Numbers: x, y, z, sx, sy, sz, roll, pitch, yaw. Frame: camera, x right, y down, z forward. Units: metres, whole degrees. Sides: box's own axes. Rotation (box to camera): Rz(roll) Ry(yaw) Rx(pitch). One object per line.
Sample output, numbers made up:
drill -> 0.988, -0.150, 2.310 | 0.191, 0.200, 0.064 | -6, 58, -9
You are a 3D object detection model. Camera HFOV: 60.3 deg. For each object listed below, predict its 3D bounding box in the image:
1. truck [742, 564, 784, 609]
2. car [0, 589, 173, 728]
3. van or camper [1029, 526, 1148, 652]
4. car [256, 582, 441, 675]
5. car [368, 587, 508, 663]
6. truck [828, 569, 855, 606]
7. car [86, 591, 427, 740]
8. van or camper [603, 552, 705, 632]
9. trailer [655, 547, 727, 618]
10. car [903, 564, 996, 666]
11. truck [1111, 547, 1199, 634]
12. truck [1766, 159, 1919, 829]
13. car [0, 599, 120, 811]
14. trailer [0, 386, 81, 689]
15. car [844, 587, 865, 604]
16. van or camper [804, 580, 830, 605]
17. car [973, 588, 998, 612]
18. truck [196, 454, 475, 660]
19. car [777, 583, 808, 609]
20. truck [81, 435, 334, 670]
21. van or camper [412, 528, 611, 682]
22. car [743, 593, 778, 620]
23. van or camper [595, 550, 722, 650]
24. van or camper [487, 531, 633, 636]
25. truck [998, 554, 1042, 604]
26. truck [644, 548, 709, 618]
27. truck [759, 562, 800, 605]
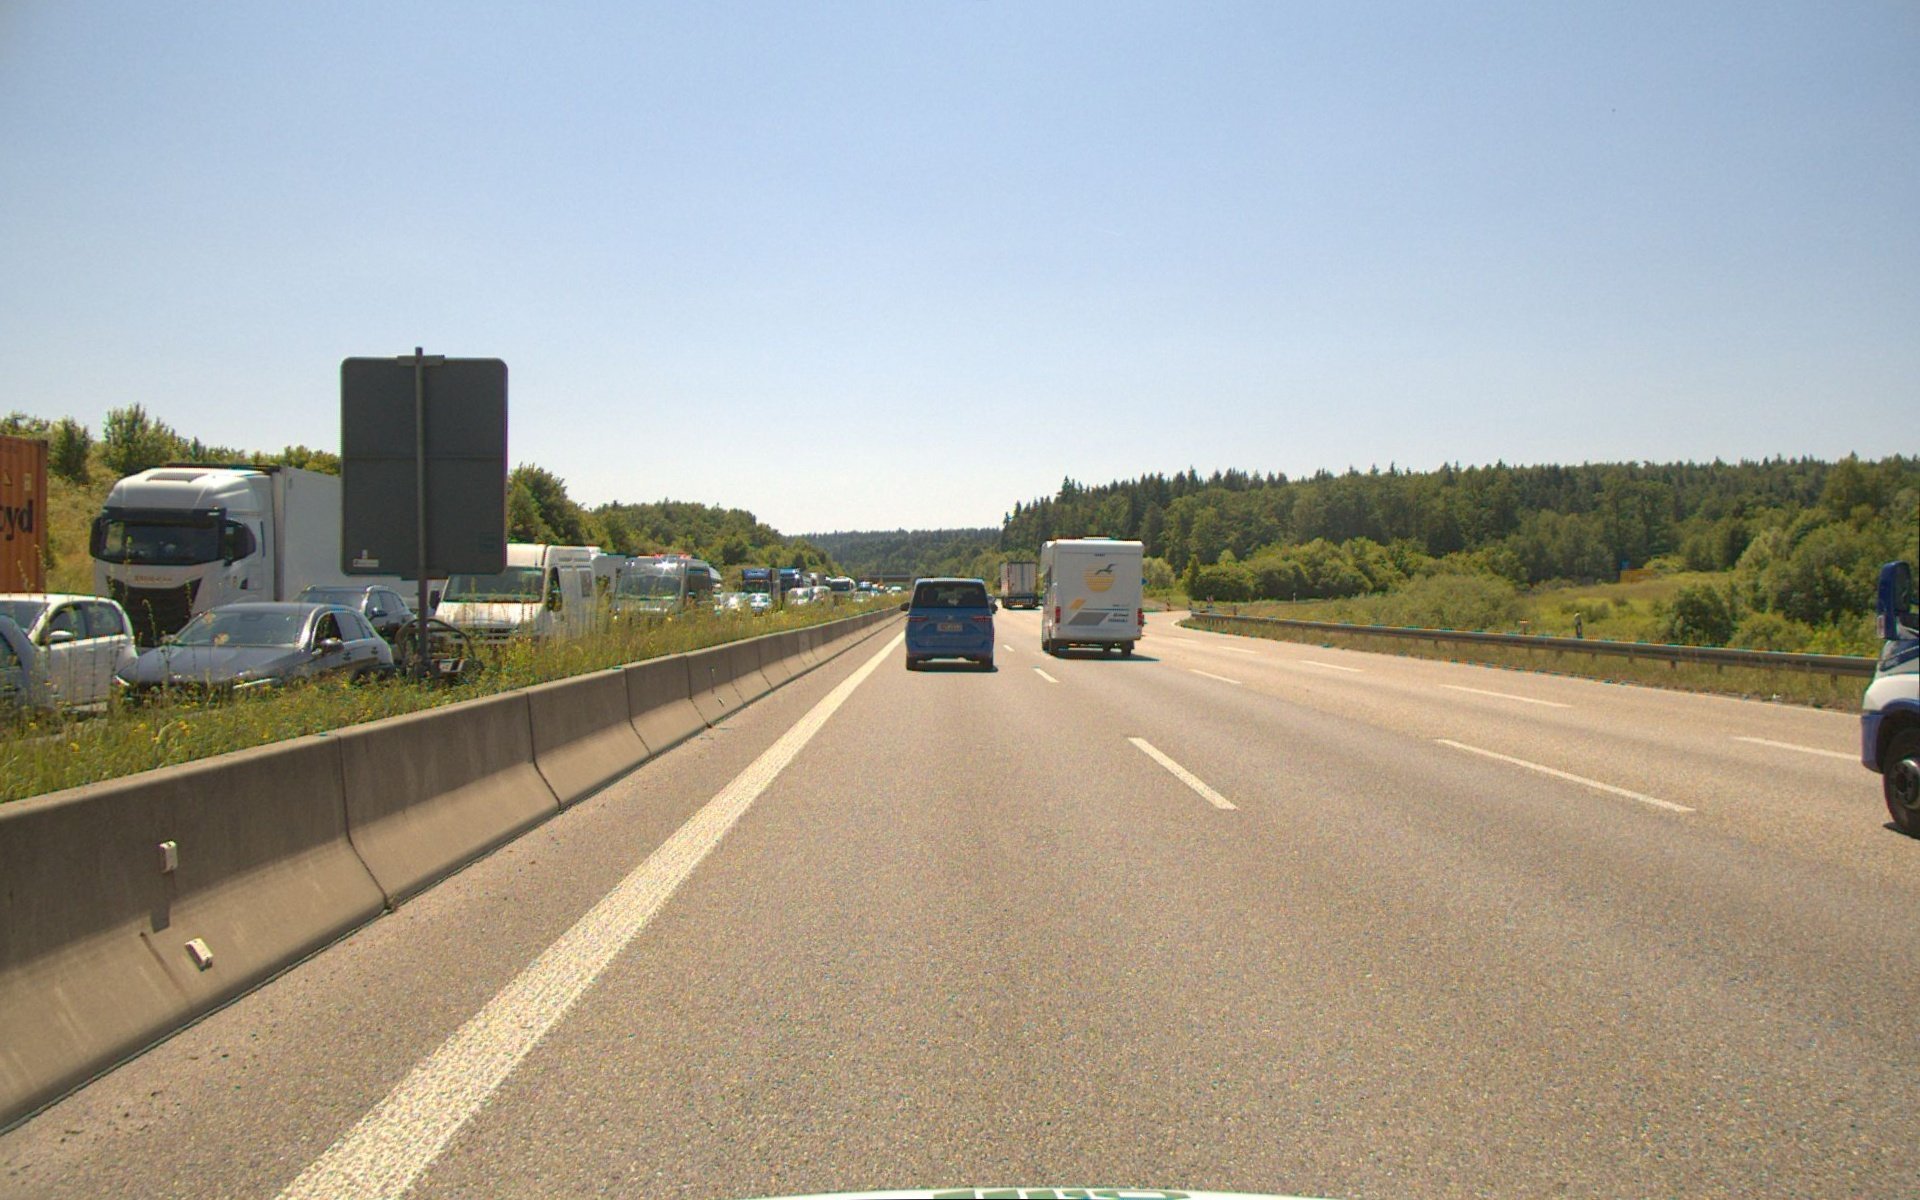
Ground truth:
truck -> -16.700, -1.096, 140.779 | 2.493, 3.739, 9.936 | 0, 0, -1
car -> -11.190, 0.630, 19.729 | 1.696, 1.491, 4.113 | 0, 0, -1
van or camper -> 3.418, -0.271, 45.610 | 2.550, 3.132, 7.180 | 1, 0, -1
car -> -11.400, 0.505, 31.223 | 1.782, 1.615, 4.881 | 0, 0, -1
car -> -11.925, 0.543, 38.109 | 1.782, 1.615, 4.881 | 0, 0, -1
truck -> -13.527, -1.359, 188.491 | 2.564, 3.958, 7.400 | -1, -1, -1
car -> -7.532, 0.631, 18.306 | 1.782, 1.433, 4.881 | 0, 0, -1
van or camper -> -12.154, -0.296, 66.424 | 2.492, 2.988, 8.131 | 0, 0, 1
trailer -> -16.587, -1.072, 102.857 | 2.625, 4.018, 12.271 | -3, 0, -2
car -> -0.248, 0.279, 35.684 | 1.870, 2.049, 3.999 | -1, 1, -1
truck -> 8.639, -0.482, 74.215 | 2.868, 3.637, 8.526 | -1, 1, 0
truck -> 7.433, -0.653, 7.370 | 2.727, 4.200, 9.737 | 1, 0, -1
car -> -7.395, 0.709, 10.583 | 1.863, 1.433, 4.430 | 0, 0, -1
trailer -> -15.126, -0.930, 20.159 | 2.559, 4.385, 11.997 | 1, 0, -1
car -> -9.883, -0.391, 155.192 | 1.718, 1.611, 4.853 | 0, 0, -1
van or camper -> -13.002, -0.691, 150.598 | 1.953, 2.190, 5.953 | -1, 0, -1
car -> 1.984, 0.015, 127.607 | 1.781, 1.825, 3.893 | 1, 0, -1
truck -> -15.315, -0.921, 41.940 | 2.469, 4.401, 12.419 | 1, 0, -1
car -> -12.977, -0.305, 128.221 | 1.982, 1.992, 5.093 | 0, 0, -1
truck -> -15.297, -0.887, 34.084 | 2.468, 4.401, 5.666 | 1, 0, 1
van or camper -> -8.086, 0.091, 30.516 | 2.148, 2.550, 6.056 | 0, 0, -1
car -> -12.669, 0.403, 105.147 | 1.718, 1.577, 4.188 | 3, 0, -1
van or camper -> -8.006, 0.004, 44.672 | 2.250, 2.477, 7.282 | 0, 0, -1
van or camper -> -12.167, -0.464, 50.996 | 2.492, 2.988, 7.828 | 0, 0, 1
truck -> 5.273, -1.788, 146.319 | 3.416, 4.243, 8.640 | 1, 0, -1
truck -> -16.373, -0.944, 96.013 | 2.726, 3.890, 6.031 | 1, 0, -1
truck -> -18.074, -1.605, 165.837 | 3.419, 4.107, 6.642 | 1, 0, -1
